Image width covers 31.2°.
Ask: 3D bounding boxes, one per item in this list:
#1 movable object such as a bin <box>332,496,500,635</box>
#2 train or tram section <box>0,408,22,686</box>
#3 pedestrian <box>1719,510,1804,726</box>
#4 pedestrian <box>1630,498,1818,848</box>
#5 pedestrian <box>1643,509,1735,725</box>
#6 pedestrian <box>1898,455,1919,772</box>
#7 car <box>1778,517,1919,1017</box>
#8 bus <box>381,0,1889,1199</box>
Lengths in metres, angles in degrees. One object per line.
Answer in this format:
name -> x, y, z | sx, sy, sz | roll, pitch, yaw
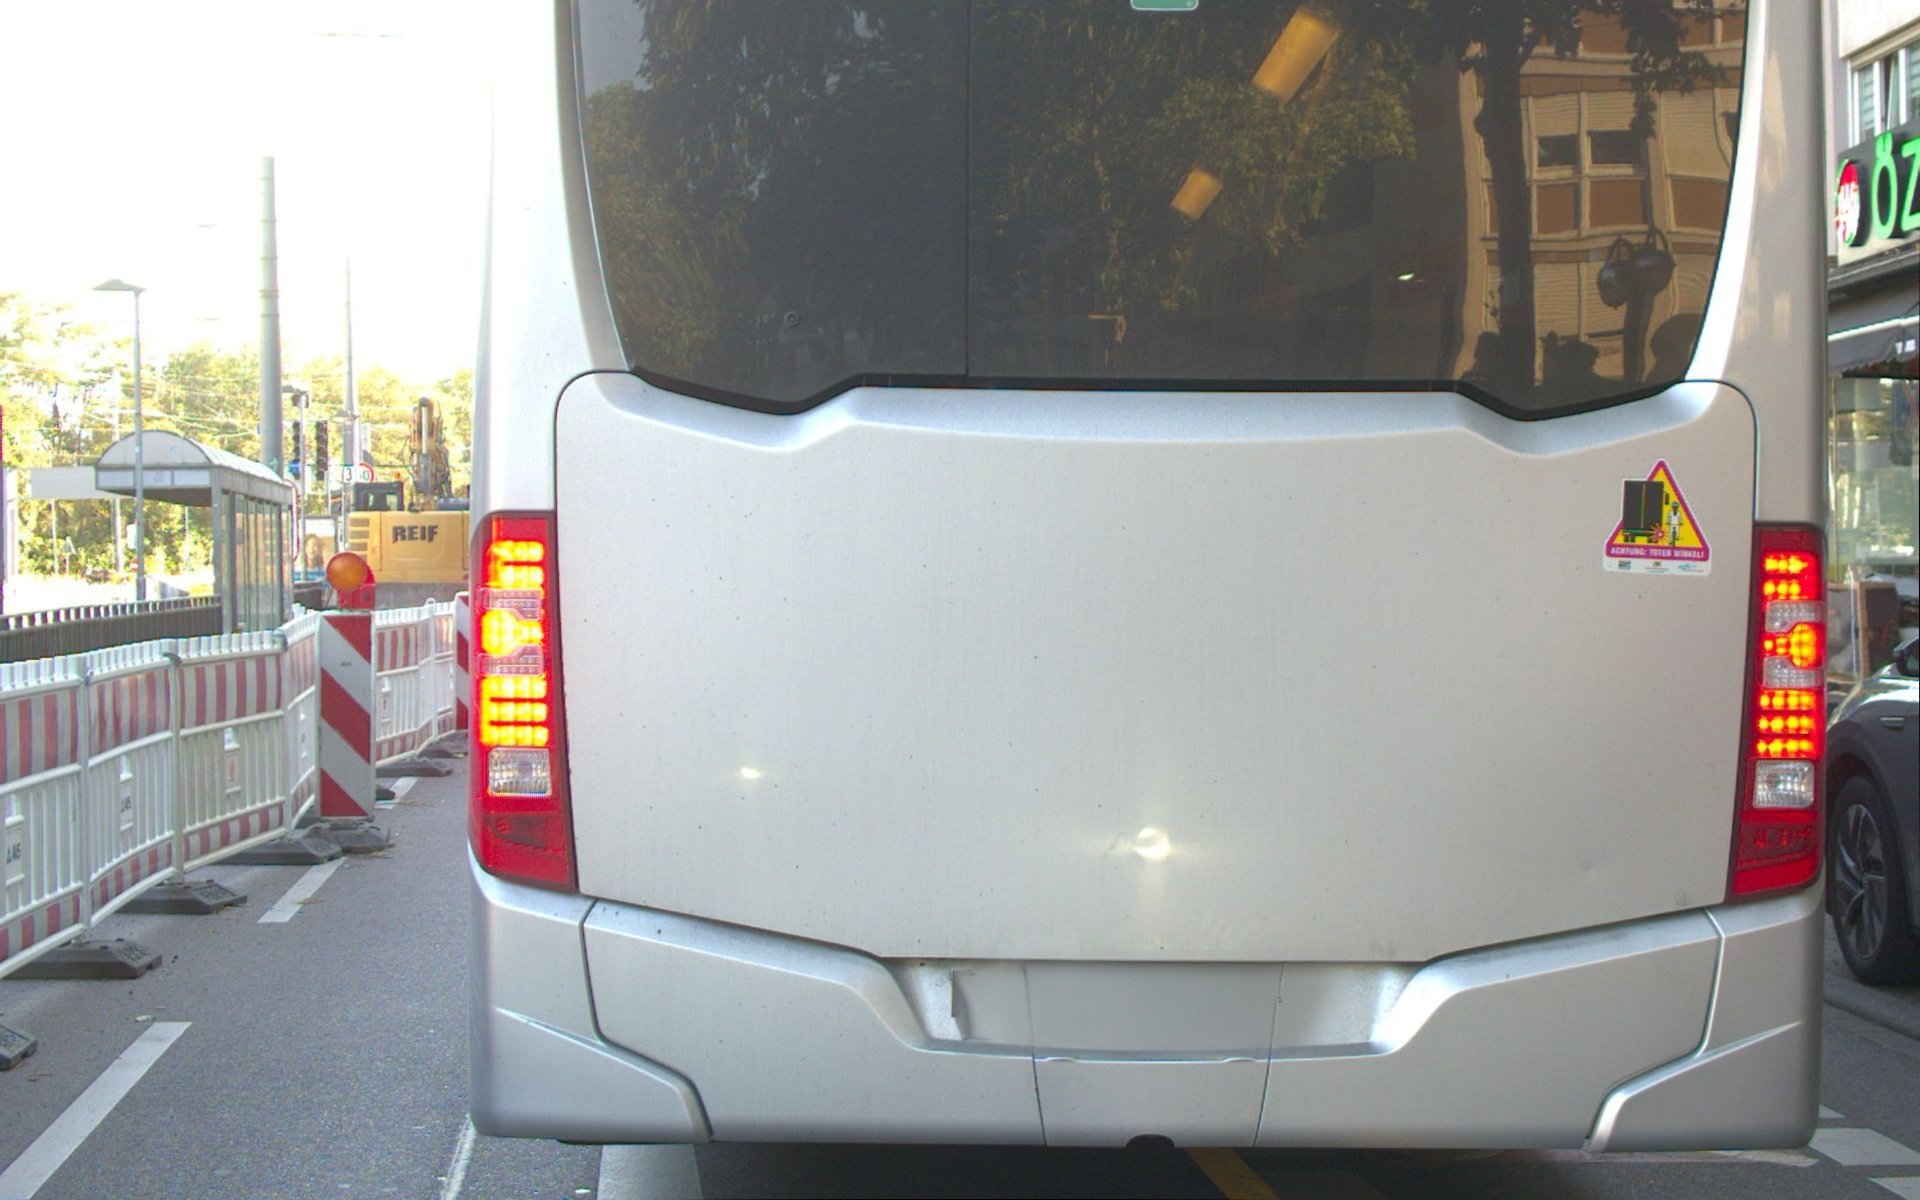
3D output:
movable object such as a bin -> -10.001, -0.654, 63.533 | 2.806, 2.453, 4.001 | -1, 1, -5
train or tram section -> -12.991, -0.622, 39.524 | 2.816, 3.475, 10.341 | 0, 1, -7
pedestrian -> 7.547, 0.164, 32.398 | 0.612, 2.007, 0.696 | -1, 0, -1
pedestrian -> 3.835, 0.356, 17.297 | 0.752, 1.720, 0.661 | -1, 0, -3
pedestrian -> 6.864, 0.155, 32.407 | 0.691, 2.007, 0.696 | -1, 0, -1
pedestrian -> 6.458, 0.077, 21.779 | 0.769, 2.007, 0.714 | -2, 0, 2
car -> 3.996, 0.509, 10.116 | 1.739, 1.592, 4.300 | -3, 1, -5
bus -> 0.281, -0.269, 11.103 | 2.608, 3.159, 10.292 | 0, 1, 0
